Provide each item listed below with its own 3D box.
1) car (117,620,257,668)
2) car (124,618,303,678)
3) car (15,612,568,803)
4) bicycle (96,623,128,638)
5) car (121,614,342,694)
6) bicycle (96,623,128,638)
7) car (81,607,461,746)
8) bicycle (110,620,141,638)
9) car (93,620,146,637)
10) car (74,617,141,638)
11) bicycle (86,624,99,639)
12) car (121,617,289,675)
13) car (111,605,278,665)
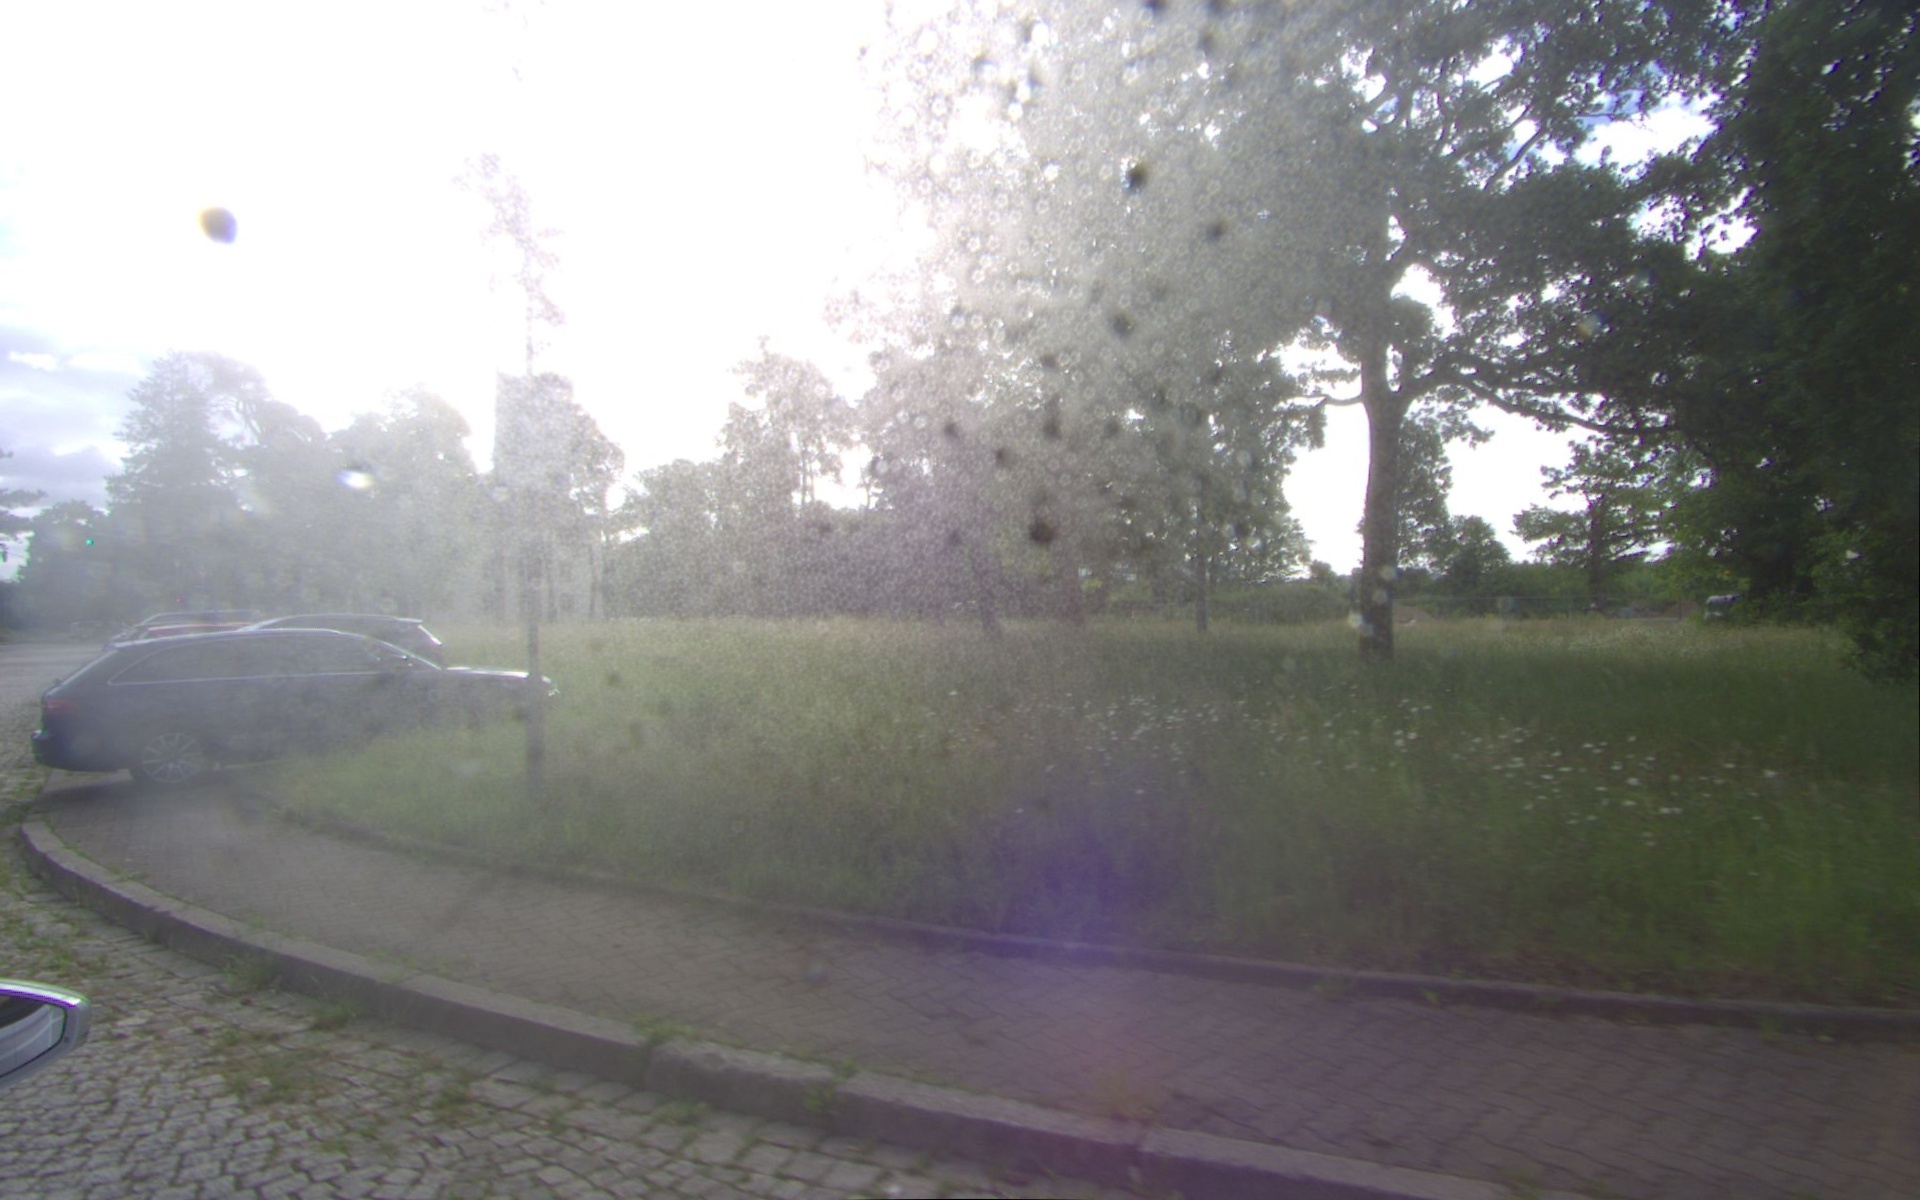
[{"bbox_3d":[-26.801,1.475,34.770,3.695,1.443,1.639,-2,1,-43],"label":"car"},{"bbox_3d":[-20.968,1.286,28.218,3.955,1.538,1.723,0,0,-40],"label":"car"},{"bbox_3d":[-6.727,0.938,10.569,4.463,1.484,1.881,-2,1,-37],"label":"car"},{"bbox_3d":[-76.563,2.738,90.429,0.804,1.285,2.148,-1,-1,43],"label":"bicycle"},{"bbox_3d":[-16.082,1.125,22.199,3.810,1.525,1.723,-1,0,-41],"label":"car"},{"bbox_3d":[-76.936,2.755,90.876,0.804,1.285,2.148,-1,-1,43],"label":"bicycle"},{"bbox_3d":[-9.667,0.951,14.292,4.229,1.594,1.879,-2,1,-41],"label":"car"},{"bbox_3d":[-76.680,2.620,92.017,0.804,1.637,2.148,0,0,43],"label":"bicycle"},{"bbox_3d":[-85.438,2.898,101.814,1.979,1.665,3.964,-1,-1,44],"label":"car"},{"bbox_3d":[-88.236,2.837,103.702,1.976,2.040,5.029,-1,-1,39],"label":"car"},{"bbox_3d":[-75.142,2.701,86.746,0.803,1.285,1.957,0,-1,-39],"label":"bicycle"},{"bbox_3d":[-22.556,1.323,29.982,3.921,1.601,1.746,0,-1,-42],"label":"car"},{"bbox_3d":[-28.112,1.233,36.876,4.748,2.066,1.722,0,0,-42],"label":"car"}]
